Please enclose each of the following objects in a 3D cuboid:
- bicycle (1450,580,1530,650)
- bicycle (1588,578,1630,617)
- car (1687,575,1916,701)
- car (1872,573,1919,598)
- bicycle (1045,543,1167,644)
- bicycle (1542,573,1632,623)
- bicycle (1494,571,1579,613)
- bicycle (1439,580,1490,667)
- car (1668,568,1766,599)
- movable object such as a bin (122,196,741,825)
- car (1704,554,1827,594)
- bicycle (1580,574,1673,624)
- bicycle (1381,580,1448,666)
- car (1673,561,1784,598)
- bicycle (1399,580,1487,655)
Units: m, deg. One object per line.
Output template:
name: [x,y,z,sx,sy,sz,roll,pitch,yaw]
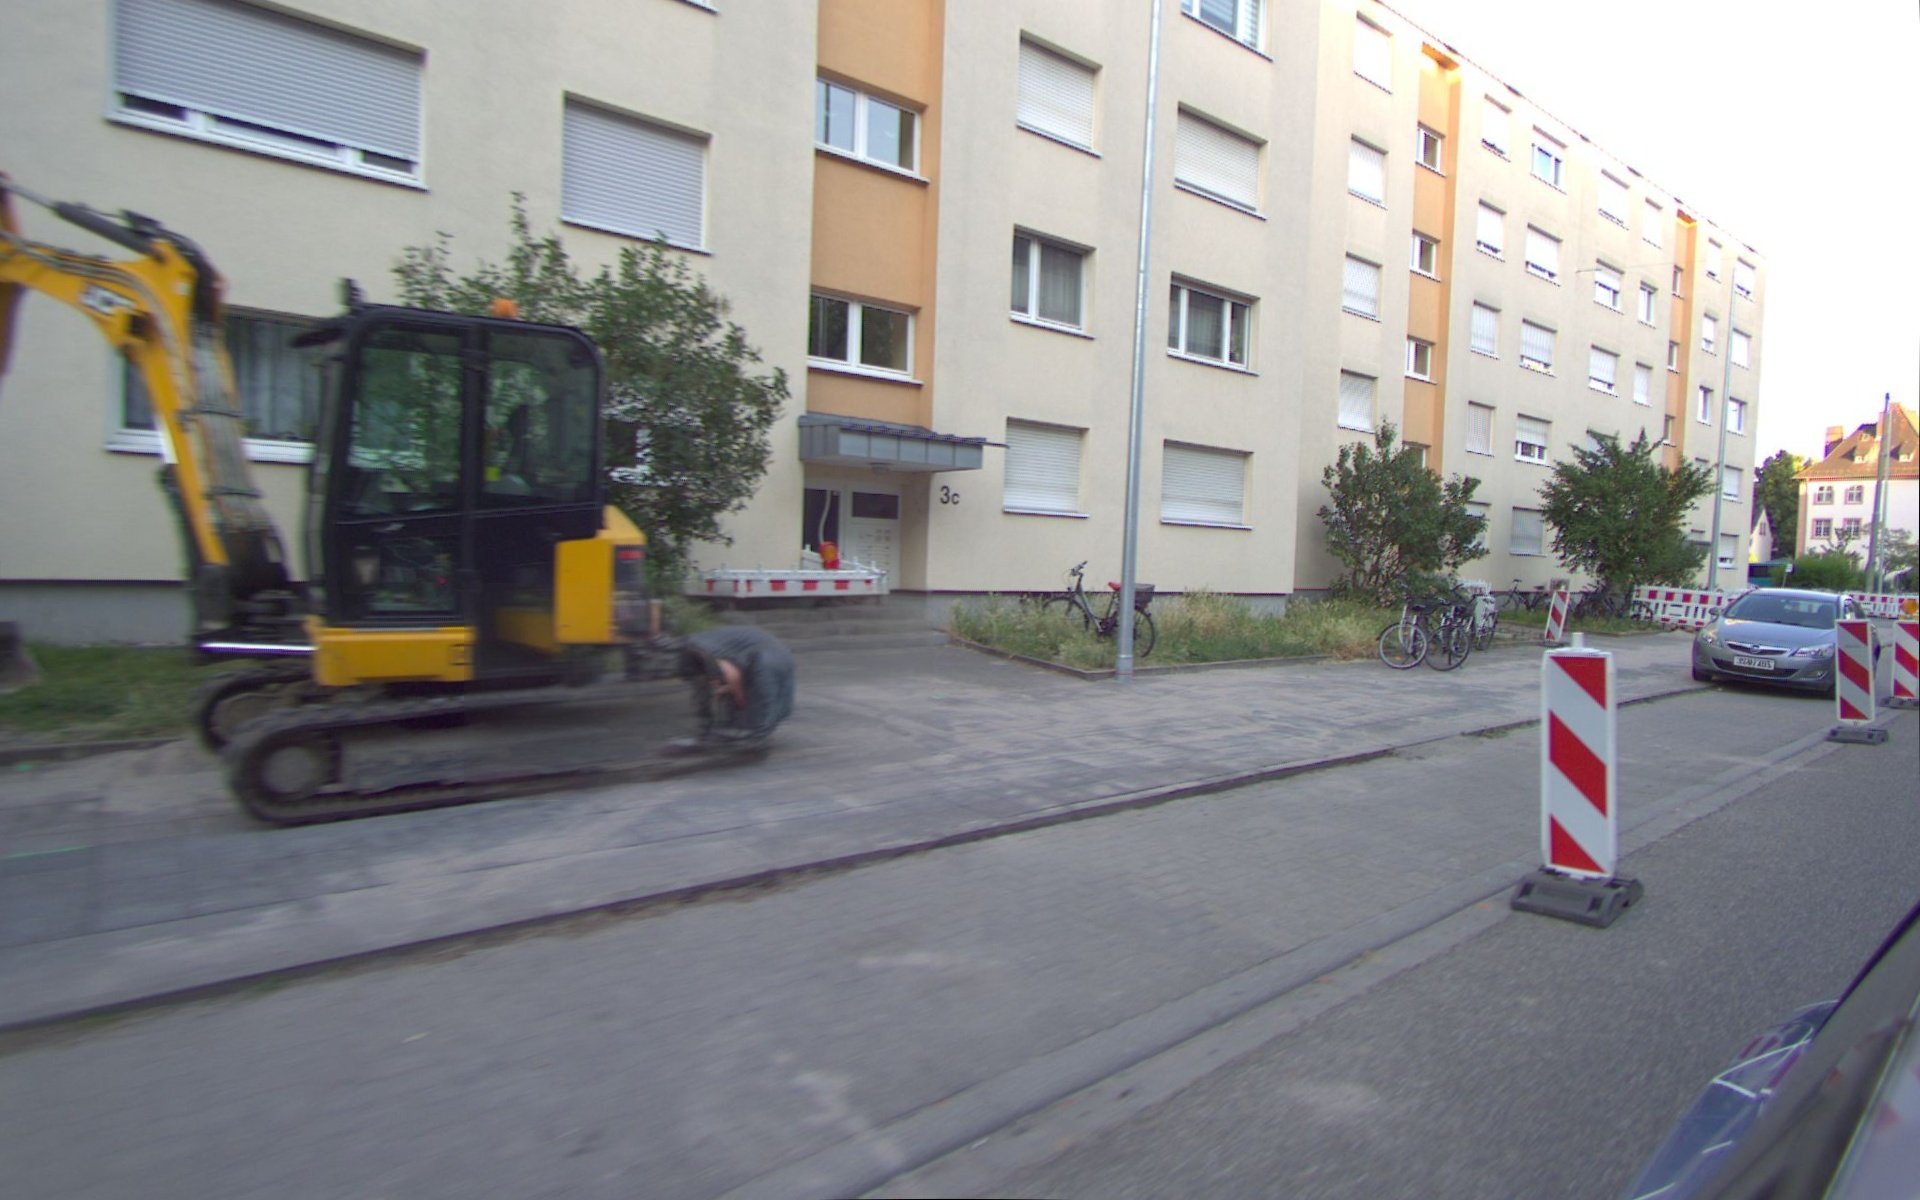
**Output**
bicycle: [9.526,0.245,18.172,1.783,1.186,0.557,0,2,-38]
bicycle: [17.578,-0.096,27.444,0.551,0.874,1.604,6,7,21]
car: [13.040,0.483,15.591,4.491,1.508,1.782,0,7,-40]
car: [66.311,-1.038,71.667,4.722,1.650,1.919,0,3,-40]
bicycle: [1.888,-0.113,13.254,1.593,1.237,0.477,3,2,44]
bicycle: [15.585,-0.072,25.195,0.547,0.998,1.763,0,8,-31]
bicycle: [15.343,-0.220,26.951,1.787,0.931,0.557,5,6,9]
bicycle: [7.532,0.310,15.074,0.553,1.186,1.798,2,2,29]
car: [40.438,-0.910,54.148,1.664,1.470,3.842,0,4,-38]
movable object such as a bin: [-3.048,-0.425,6.021,2.837,2.726,1.940,0,2,-36]
car: [46.517,-1.516,58.559,2.245,2.155,5.042,0,3,-32]
bicycle: [17.112,-0.041,26.024,0.548,1.034,1.817,-1,8,-39]
bicycle: [6.828,0.302,15.152,0.623,1.186,1.795,2,2,33]
car: [42.382,-1.171,55.896,1.968,1.832,4.493,0,4,-38]
bicycle: [8.036,0.269,16.817,1.783,1.186,0.557,0,2,-38]
